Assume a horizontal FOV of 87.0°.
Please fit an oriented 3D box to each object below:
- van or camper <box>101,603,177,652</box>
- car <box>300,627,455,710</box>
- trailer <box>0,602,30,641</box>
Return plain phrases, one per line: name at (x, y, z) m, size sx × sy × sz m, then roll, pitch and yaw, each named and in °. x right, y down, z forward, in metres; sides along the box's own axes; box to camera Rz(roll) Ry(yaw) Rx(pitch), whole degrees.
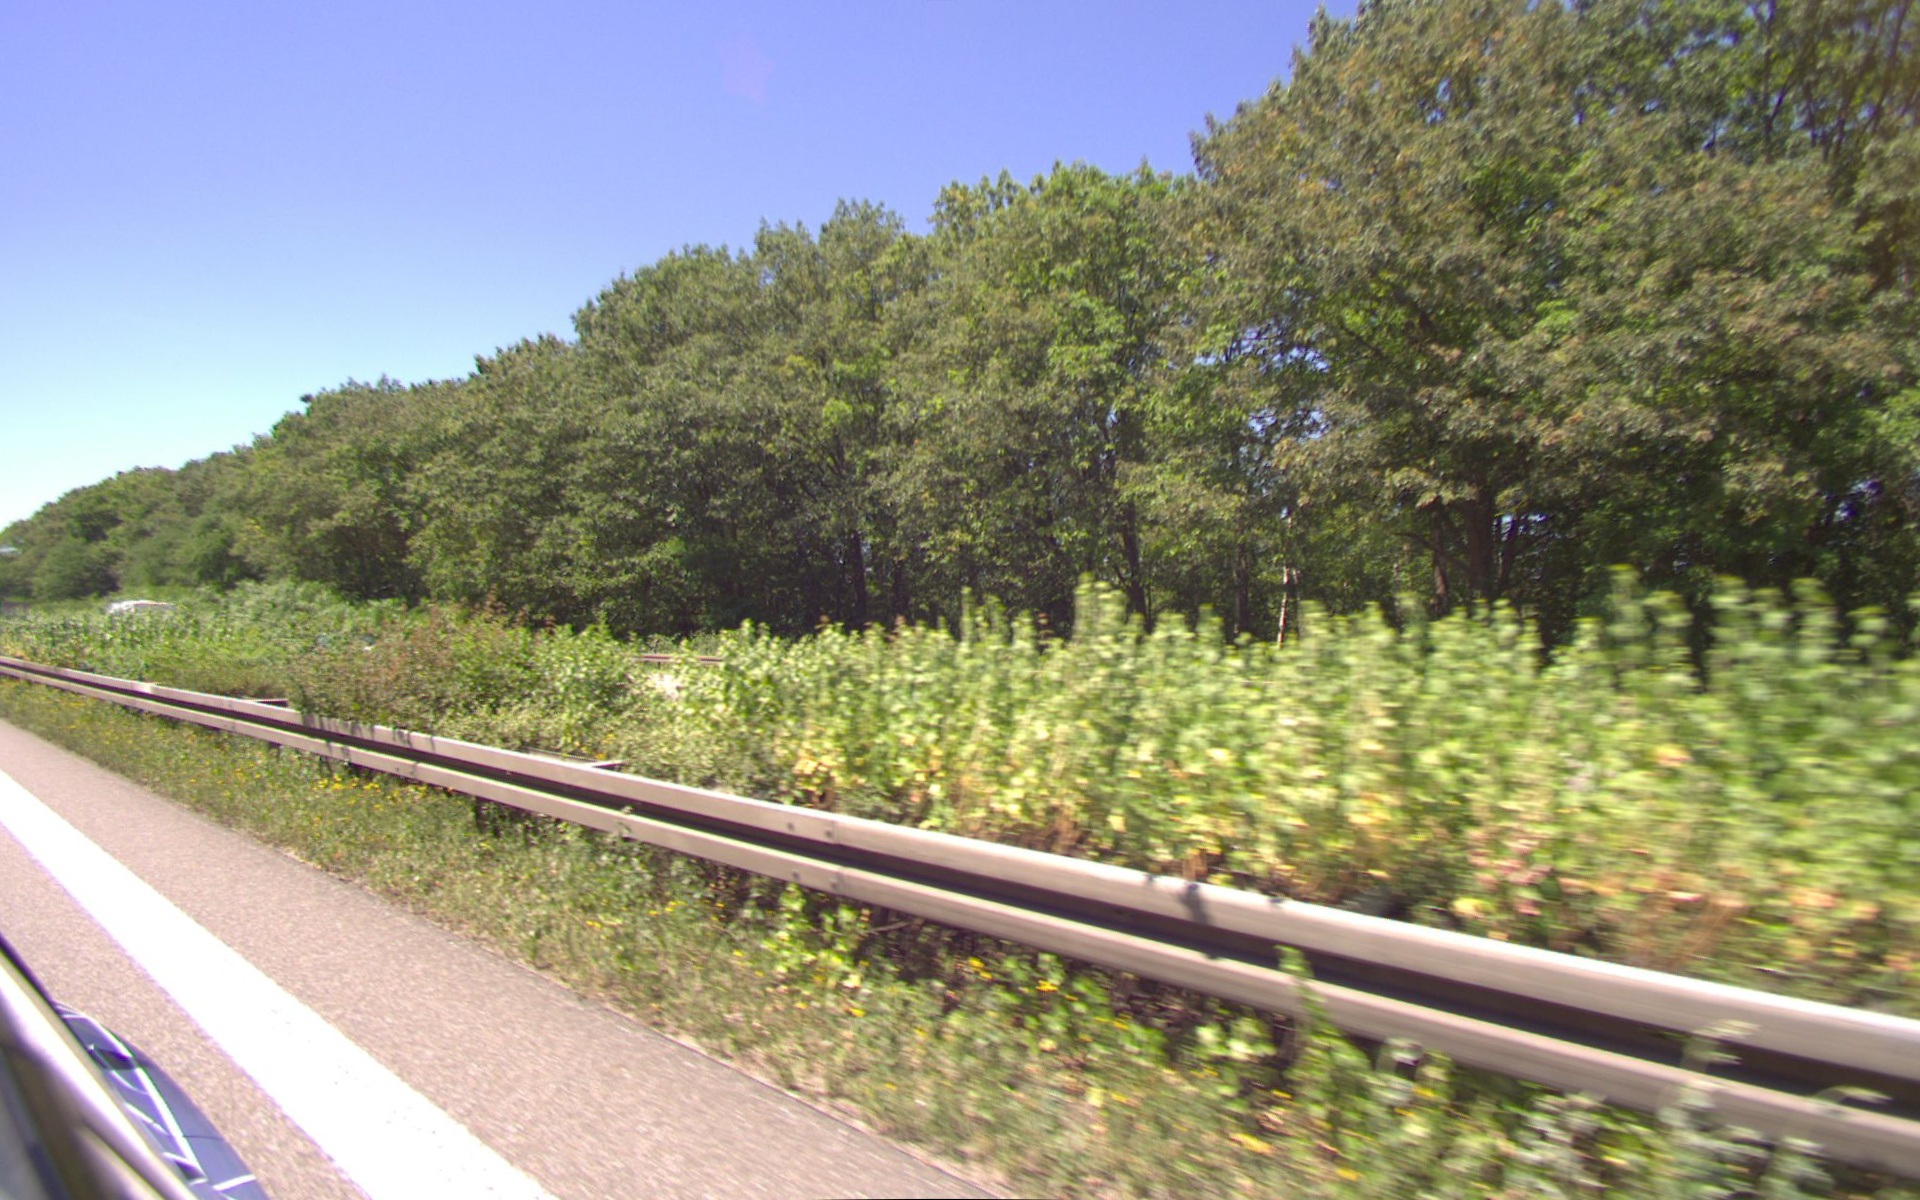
van or camper at (-55.916, 1.858, 68.852) m, size 9.080 × 3.136 × 2.395 m, roll -1°, pitch -2°, yaw 40°
car at (-13.209, 1.524, 22.879) m, size 3.998 × 1.640 × 1.668 m, roll -1°, pitch -8°, yaw 41°
trailer at (-100.747, 2.284, 106.155) m, size 13.629 × 3.907 × 2.881 m, roll -1°, pitch -2°, yaw 39°
